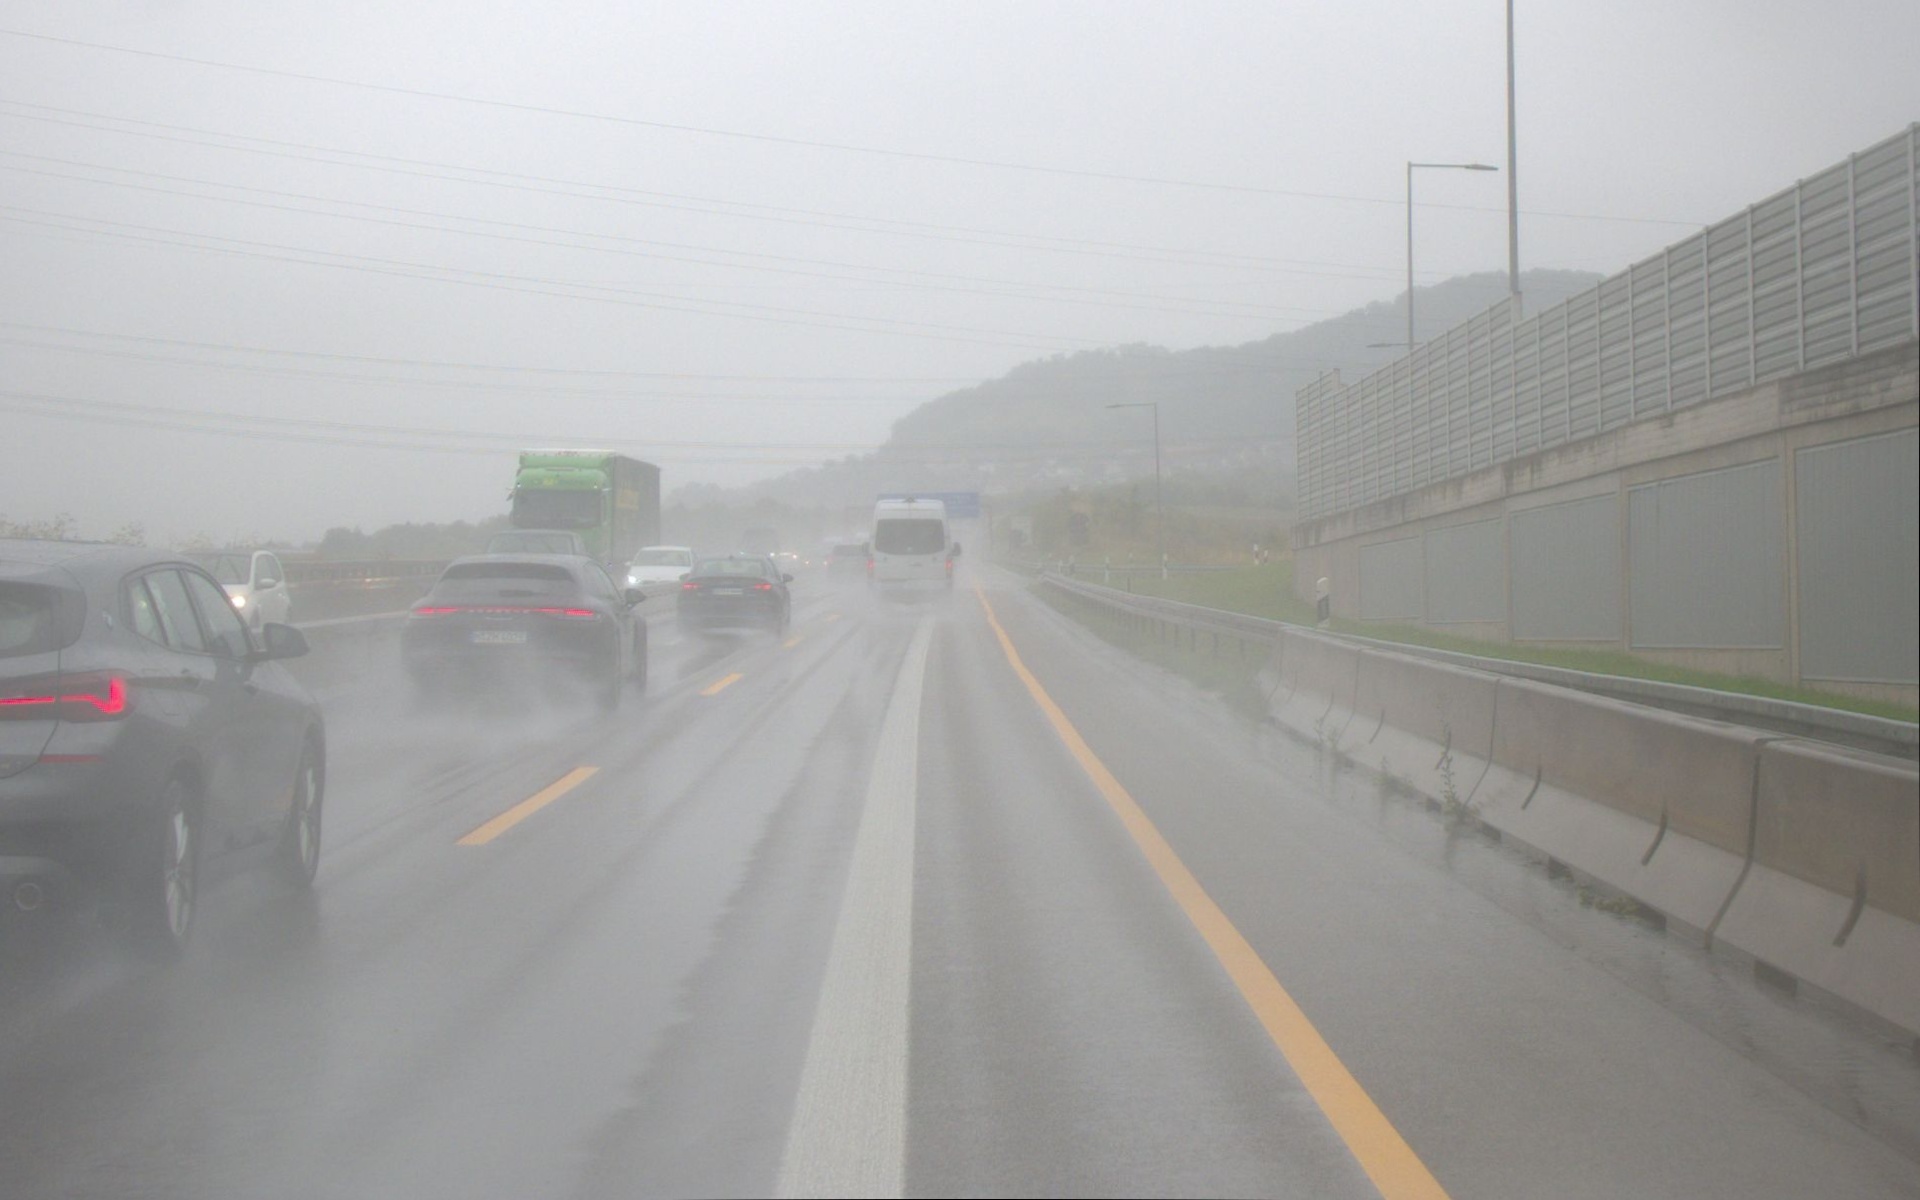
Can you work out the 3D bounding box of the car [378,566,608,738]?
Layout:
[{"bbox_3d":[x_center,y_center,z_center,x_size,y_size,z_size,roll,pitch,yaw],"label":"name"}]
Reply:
[{"bbox_3d":[-4.294,0.472,32.168,1.844,1.486,4.262,1,0,-4],"label":"car"}]

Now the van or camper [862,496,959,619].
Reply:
[{"bbox_3d":[-1.181,-0.955,79.927,1.996,2.768,4.050,1,0,-4],"label":"van or camper"}]

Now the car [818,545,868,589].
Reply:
[{"bbox_3d":[-4.249,-1.188,124.974,1.566,1.475,2.821,-2,-1,2],"label":"car"}]

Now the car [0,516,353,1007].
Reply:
[{"bbox_3d":[-3.521,0.535,13.557,1.700,1.592,4.846,1,0,-4],"label":"car"}]

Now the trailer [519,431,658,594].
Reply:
[{"bbox_3d":[-10.795,-2.521,101.141,2.581,4.442,13.553,1,1,0],"label":"trailer"}]

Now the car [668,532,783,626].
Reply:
[{"bbox_3d":[-4.011,-0.381,58.685,1.844,1.486,4.262,-2,1,-4],"label":"car"}]

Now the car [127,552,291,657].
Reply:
[{"bbox_3d":[-10.657,0.033,49.001,1.569,1.431,3.894,0,1,-1],"label":"car"}]
